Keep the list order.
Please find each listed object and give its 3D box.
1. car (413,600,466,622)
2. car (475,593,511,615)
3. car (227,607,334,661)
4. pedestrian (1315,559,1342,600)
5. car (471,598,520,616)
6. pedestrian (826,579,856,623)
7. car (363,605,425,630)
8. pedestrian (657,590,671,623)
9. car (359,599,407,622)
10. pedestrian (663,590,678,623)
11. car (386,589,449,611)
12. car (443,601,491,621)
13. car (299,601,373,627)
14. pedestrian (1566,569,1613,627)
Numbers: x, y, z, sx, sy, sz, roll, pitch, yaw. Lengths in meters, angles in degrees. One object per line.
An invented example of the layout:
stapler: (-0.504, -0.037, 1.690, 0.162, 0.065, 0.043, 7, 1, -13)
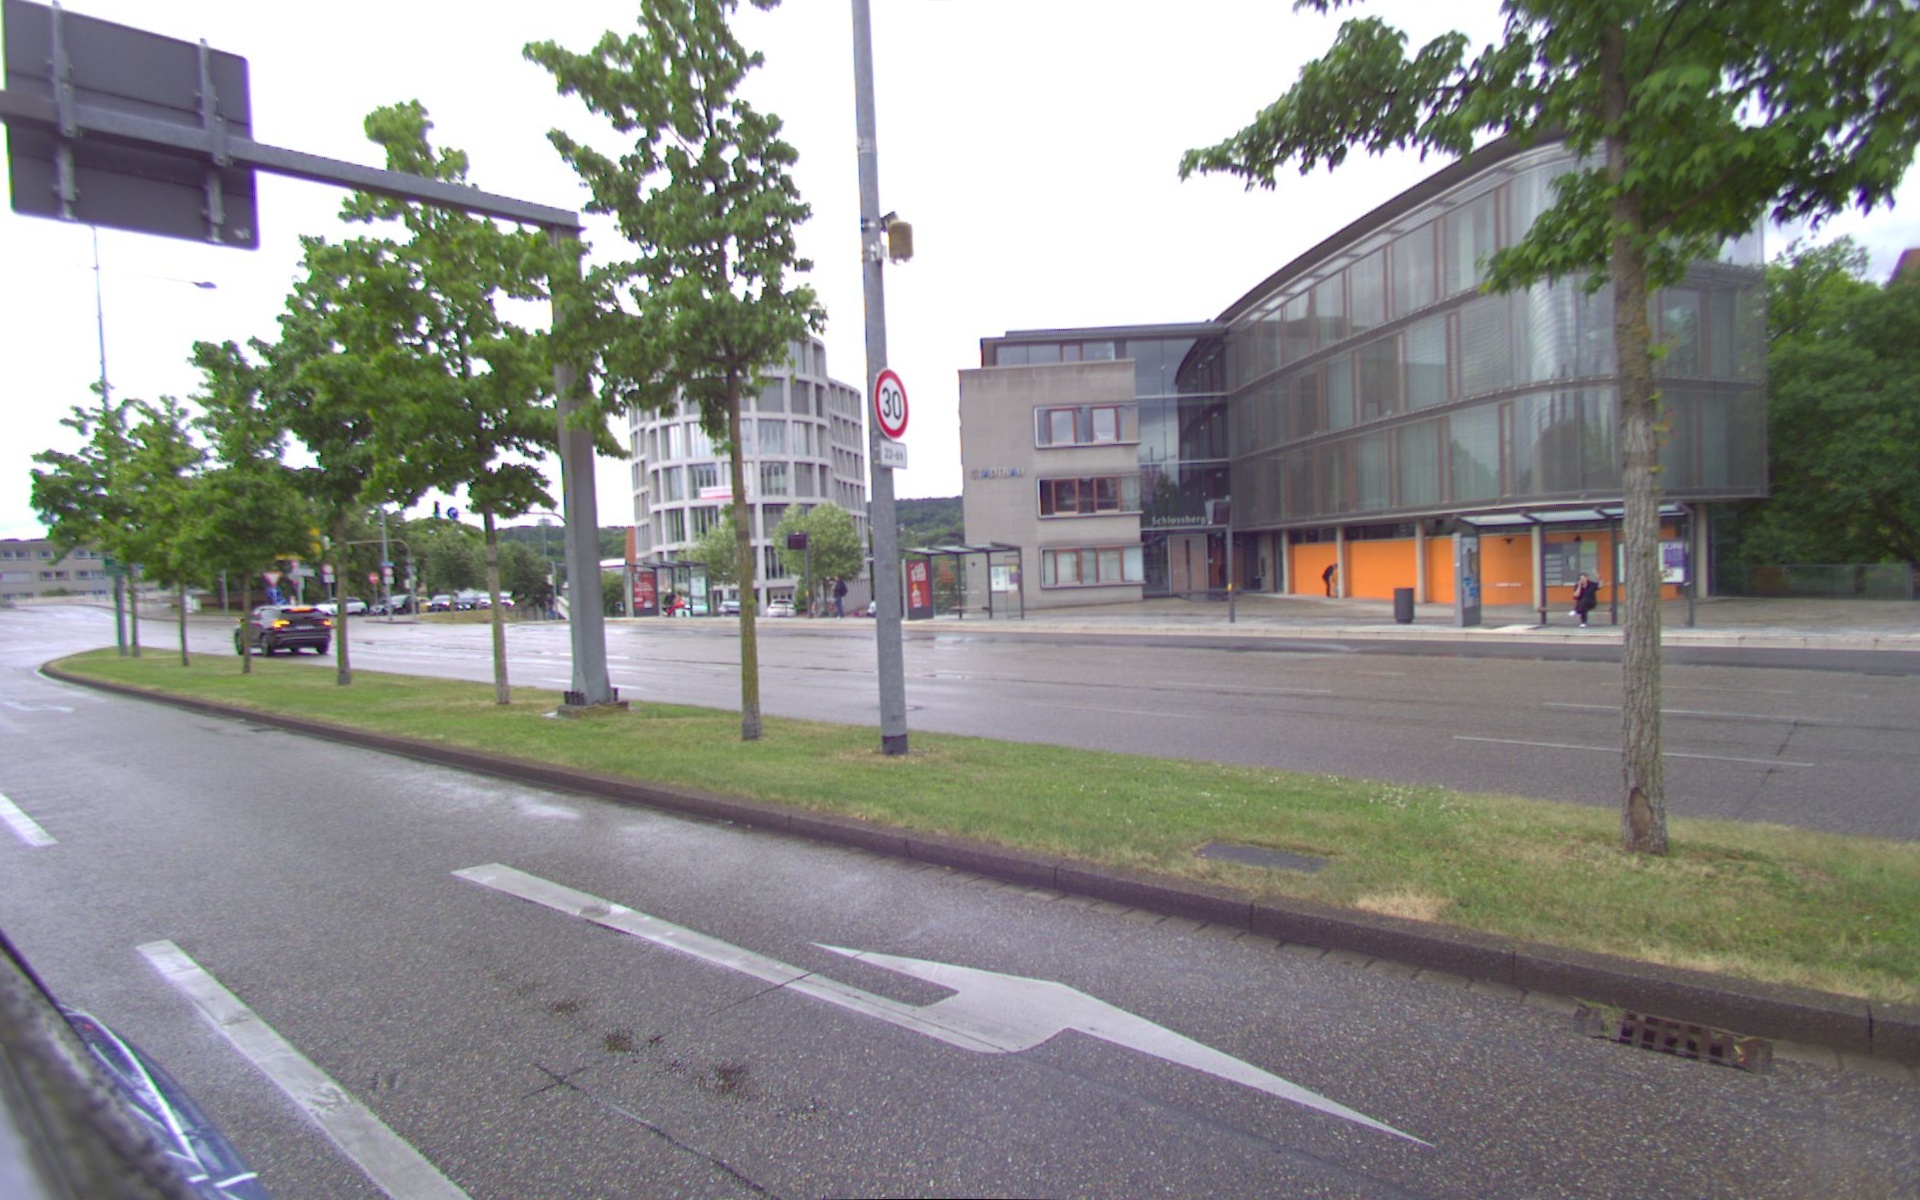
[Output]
car: (-43.834, 0.875, 85.360, 2.164, 1.725, 4.919, -1, 0, -3)
car: (-46.051, 0.411, 99.811, 1.969, 2.029, 4.005, -1, 0, -6)
car: (-22.869, 1.098, 34.009, 4.597, 1.652, 1.803, -1, 1, 41)
pedestrian: (15.152, -0.827, 41.583, 0.697, 1.666, 0.852, -1, 0, -6)
car: (-48.489, 0.770, 105.680, 4.897, 1.725, 2.174, -1, 0, 30)
pedestrian: (-4.883, 0.042, 41.569, 0.964, 1.773, 0.783, -1, 0, 12)
car: (-43.321, 1.298, 77.613, 2.164, 1.725, 4.919, -1, 0, -3)
pedestrian: (-14.727, 0.307, 50.338, 0.501, 1.647, 0.497, -1, 0, 41)
car: (-47.711, 0.881, 83.775, 1.970, 1.807, 4.004, -1, -1, -5)
pedestrian: (-14.556, 0.301, 50.906, 0.535, 1.647, 0.514, -1, 0, 41)
car: (-53.863, -0.029, 100.567, 4.963, 2.029, 2.311, -1, 0, 0)
car: (-45.002, 1.000, 92.461, 2.164, 1.725, 4.920, -1, 0, -3)
car: (-46.520, 1.019, 75.572, 2.169, 1.725, 4.909, -1, 0, 5)
pedestrian: (14.608, -0.044, 23.482, 0.790, 1.334, 0.793, -1, 0, 42)
